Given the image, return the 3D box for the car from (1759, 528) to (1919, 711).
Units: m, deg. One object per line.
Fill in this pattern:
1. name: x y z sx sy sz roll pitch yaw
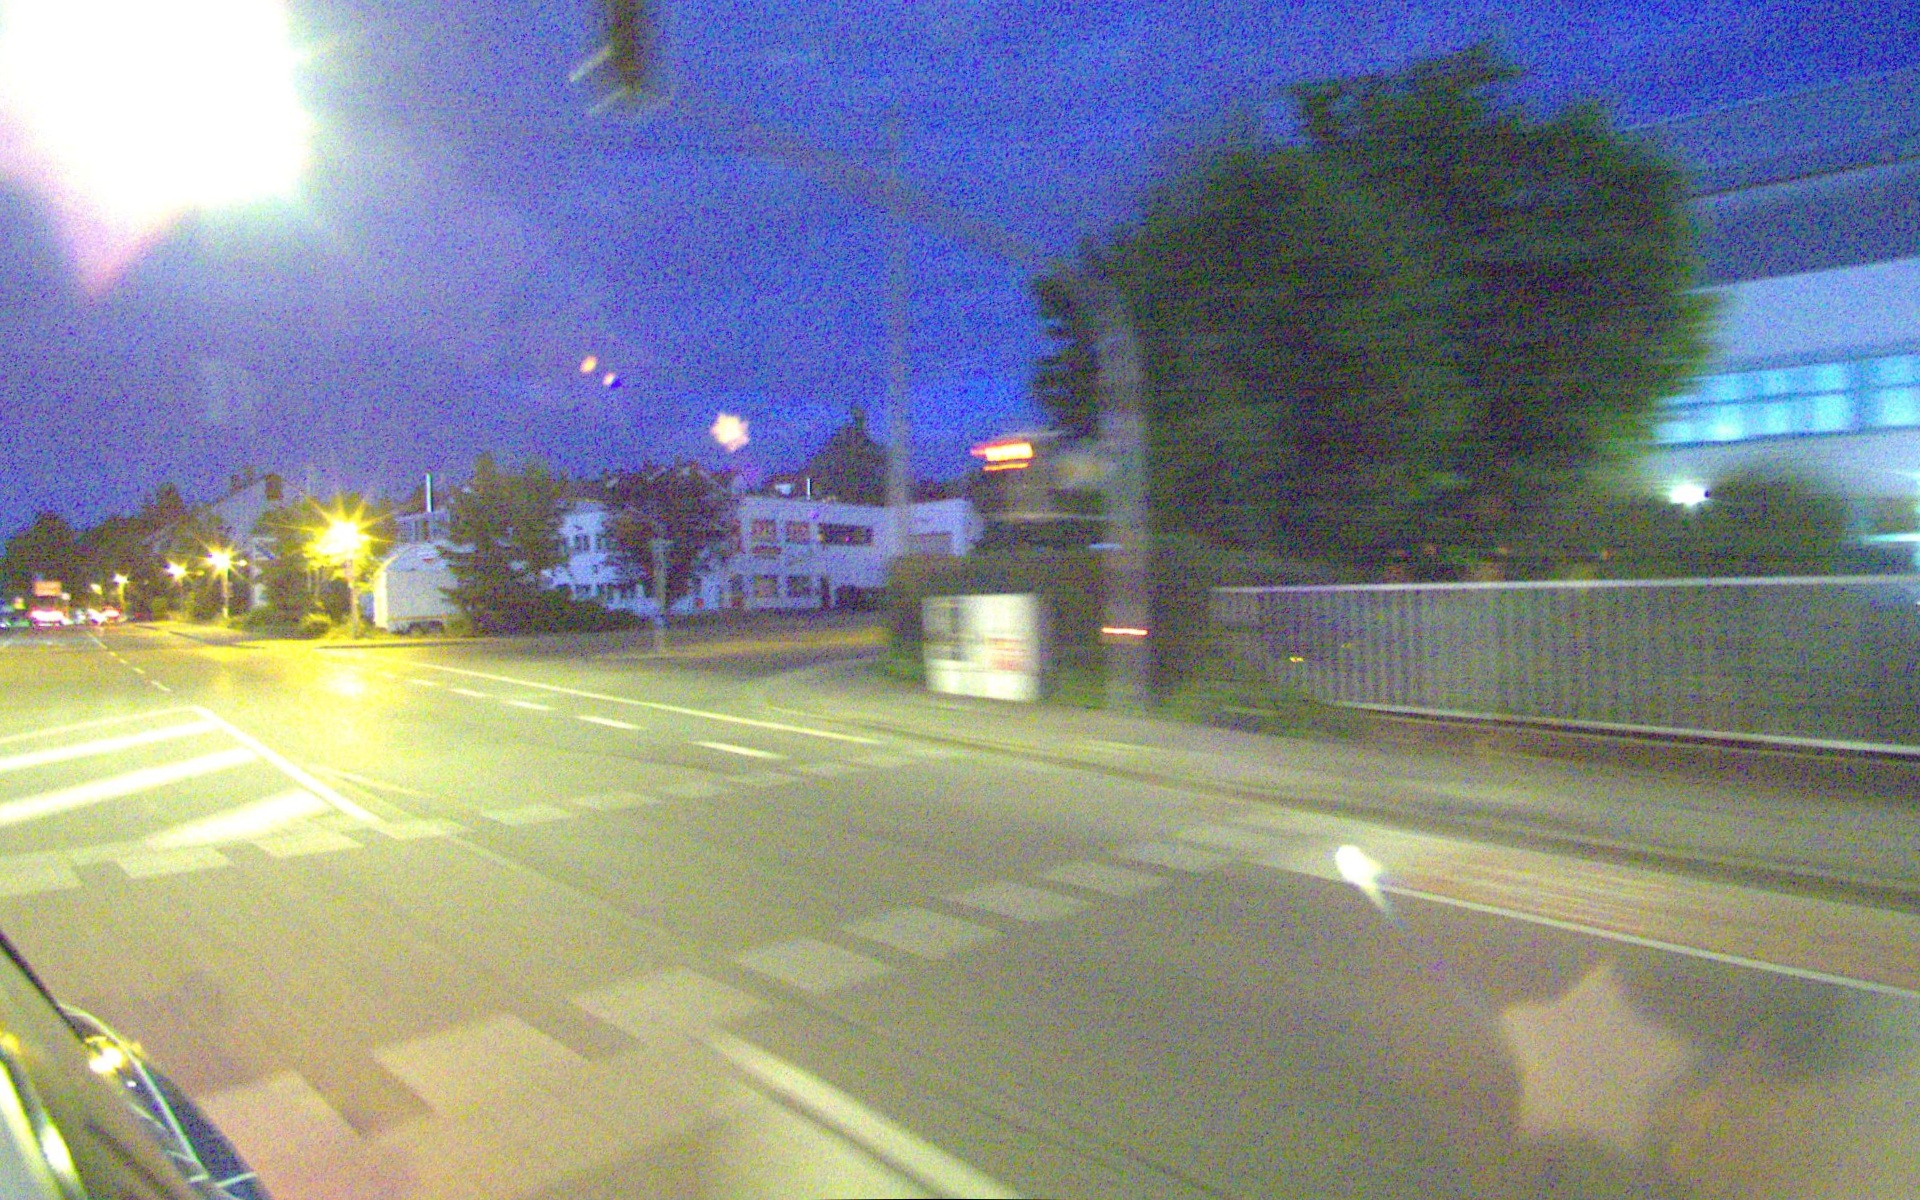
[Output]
1. car: 10.422 0.175 11.571 1.998 1.785 4.086 -1 0 38

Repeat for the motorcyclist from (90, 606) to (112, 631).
1. motorcyclist: -66.076 1.418 77.848 0.833 1.914 1.122 -1 0 41

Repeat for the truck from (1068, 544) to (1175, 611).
1. truck: 10.258 -1.242 63.245 2.867 3.755 9.493 -1 -2 34

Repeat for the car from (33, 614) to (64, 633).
1. car: -82.703 2.074 91.824 1.970 1.639 4.757 -1 0 -43

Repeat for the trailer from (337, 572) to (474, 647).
1. trailer: -21.674 0.332 39.673 4.297 2.740 2.002 -2 0 -43

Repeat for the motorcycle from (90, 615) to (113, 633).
1. motorcycle: -66.004 1.821 77.777 2.825 1.314 0.987 -1 0 42

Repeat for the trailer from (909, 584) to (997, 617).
1. trailer: -0.319 0.008 54.719 1.877 1.634 5.173 -2 0 39
